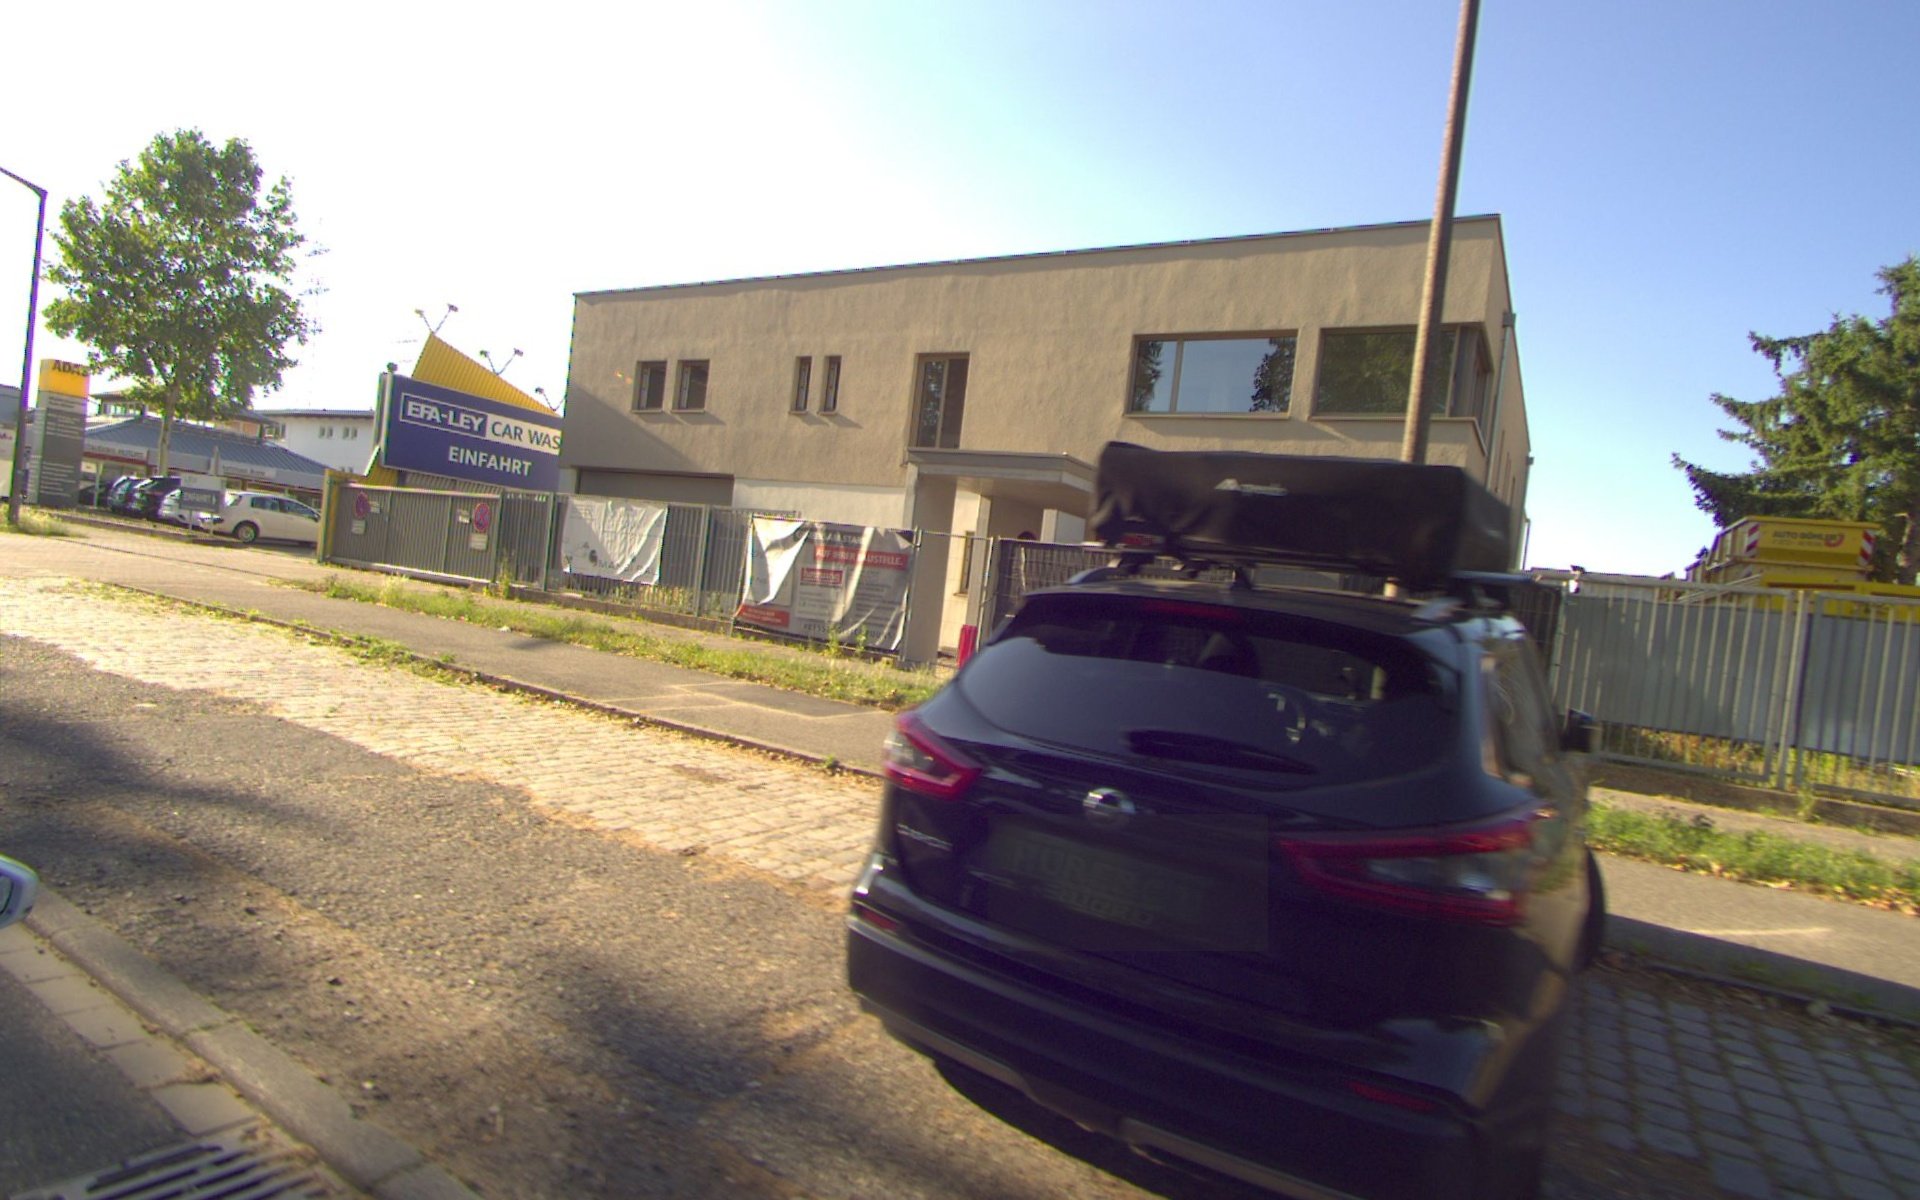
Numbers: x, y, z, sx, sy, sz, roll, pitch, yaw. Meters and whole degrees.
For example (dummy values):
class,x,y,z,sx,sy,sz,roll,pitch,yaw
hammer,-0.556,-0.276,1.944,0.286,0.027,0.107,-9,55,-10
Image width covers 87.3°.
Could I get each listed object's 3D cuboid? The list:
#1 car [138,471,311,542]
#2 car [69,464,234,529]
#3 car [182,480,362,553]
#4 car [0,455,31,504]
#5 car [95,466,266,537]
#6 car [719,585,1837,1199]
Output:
class,x,y,z,sx,sy,sz,roll,pitch,yaw
car,-23.799,-2.991,32.699,1.919,1.537,3.997,7,-1,27
car,-28.467,-3.616,35.558,1.965,1.537,3.997,7,-1,27
car,-21.031,-2.522,30.922,1.965,1.515,3.997,7,-1,27
car,-42.636,-5.423,42.472,2.165,1.921,4.503,7,-1,31
car,-26.163,-3.269,33.919,1.965,1.614,3.997,7,-1,27
car,1.456,0.840,3.955,1.966,1.548,4.624,7,4,30
